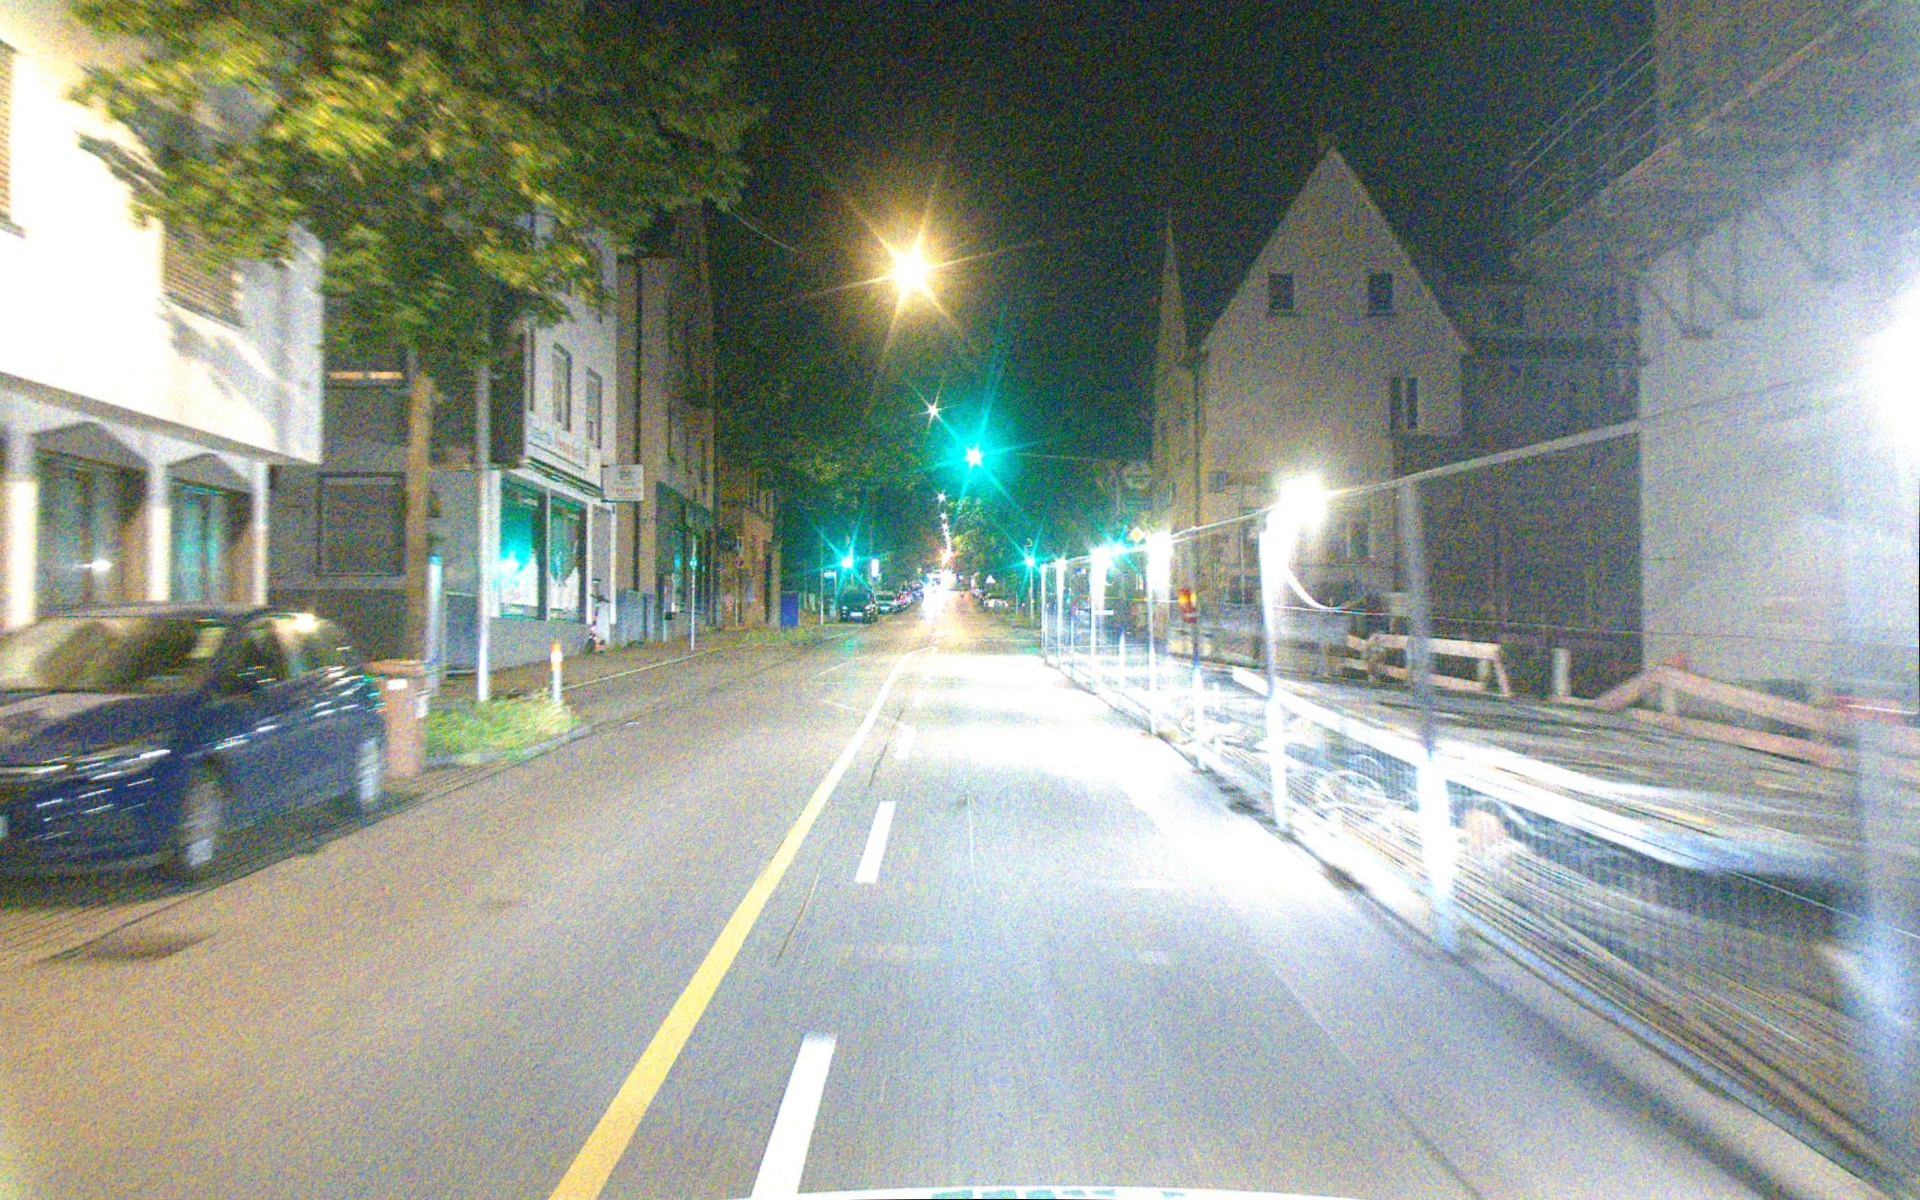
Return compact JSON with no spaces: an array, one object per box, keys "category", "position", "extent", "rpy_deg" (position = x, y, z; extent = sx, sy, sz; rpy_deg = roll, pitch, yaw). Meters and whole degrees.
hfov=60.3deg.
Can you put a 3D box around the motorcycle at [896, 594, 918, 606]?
[{"category":"motorcycle","position":[-5.170,-0.028,162.138],"extent":[2.162,1.150,0.714],"rpy_deg":[0,1,33]}]

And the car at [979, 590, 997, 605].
[{"category":"car","position":[2.894,-0.260,171.181],"extent":[1.727,1.501,4.080],"rpy_deg":[-2,1,0]}]

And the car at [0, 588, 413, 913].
[{"category":"car","position":[-4.807,0.697,9.907],"extent":[1.691,1.512,4.290],"rpy_deg":[1,0,-1]}]

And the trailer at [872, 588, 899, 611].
[{"category":"trailer","position":[-5.542,-0.012,123.869],"extent":[1.603,1.668,3.441],"rpy_deg":[1,0,4]}]

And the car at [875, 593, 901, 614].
[{"category":"car","position":[-5.193,0.235,119.207],"extent":[1.778,1.510,4.346],"rpy_deg":[0,0,-2]}]

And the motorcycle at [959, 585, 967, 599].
[{"category":"motorcycle","position":[0.394,-1.091,215.908],"extent":[0.912,1.782,2.624],"rpy_deg":[1,0,0]}]

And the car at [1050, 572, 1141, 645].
[{"category":"car","position":[3.629,0.210,45.130],"extent":[1.872,1.859,4.898],"rpy_deg":[0,0,-3]}]

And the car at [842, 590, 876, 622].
[{"category":"car","position":[-4.986,0.301,81.675],"extent":[1.615,1.541,3.699],"rpy_deg":[1,0,-4]}]

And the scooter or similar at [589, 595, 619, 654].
[{"category":"scooter or similar","position":[-7.717,0.529,35.887],"extent":[0.324,1.247,1.335],"rpy_deg":[1,0,2]}]

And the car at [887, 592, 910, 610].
[{"category":"car","position":[-5.333,0.076,143.593],"extent":[1.826,1.518,4.279],"rpy_deg":[1,0,-1]}]

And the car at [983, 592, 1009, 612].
[{"category":"car","position":[2.861,0.175,132.769],"extent":[1.808,1.442,4.644],"rpy_deg":[-3,0,-1]}]

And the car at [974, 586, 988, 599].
[{"category":"car","position":[2.808,-1.041,220.193],"extent":[1.775,1.621,4.273],"rpy_deg":[-1,1,0]}]

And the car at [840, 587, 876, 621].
[{"category":"car","position":[-5.386,0.202,87.402],"extent":[1.812,1.679,4.668],"rpy_deg":[1,1,-4]}]

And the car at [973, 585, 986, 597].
[{"category":"car","position":[2.729,-1.310,233.350],"extent":[1.830,1.553,4.150],"rpy_deg":[-1,1,0]}]

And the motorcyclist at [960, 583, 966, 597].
[{"category":"motorcyclist","position":[0.395,-1.310,215.871],"extent":[0.831,1.782,0.805],"rpy_deg":[1,-1,0]}]
